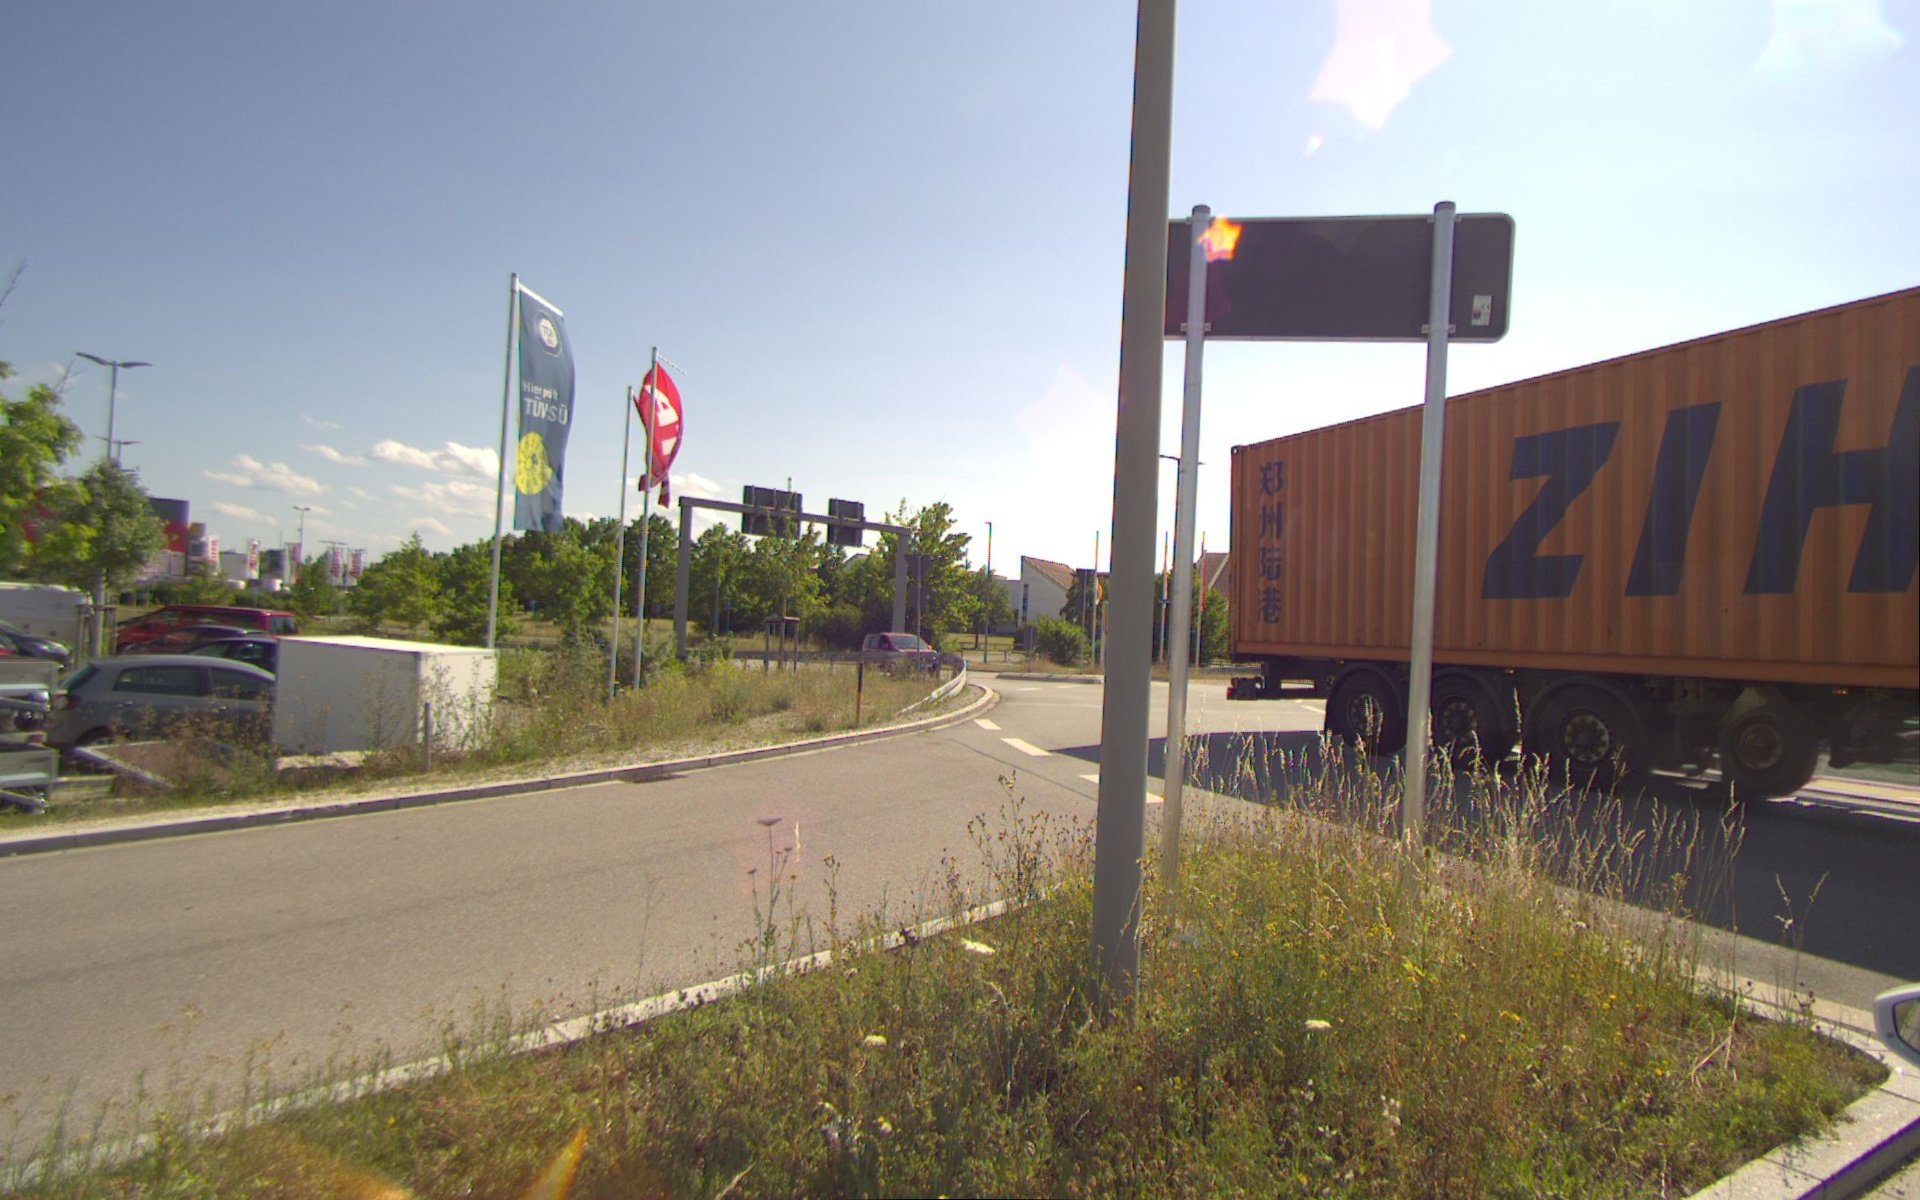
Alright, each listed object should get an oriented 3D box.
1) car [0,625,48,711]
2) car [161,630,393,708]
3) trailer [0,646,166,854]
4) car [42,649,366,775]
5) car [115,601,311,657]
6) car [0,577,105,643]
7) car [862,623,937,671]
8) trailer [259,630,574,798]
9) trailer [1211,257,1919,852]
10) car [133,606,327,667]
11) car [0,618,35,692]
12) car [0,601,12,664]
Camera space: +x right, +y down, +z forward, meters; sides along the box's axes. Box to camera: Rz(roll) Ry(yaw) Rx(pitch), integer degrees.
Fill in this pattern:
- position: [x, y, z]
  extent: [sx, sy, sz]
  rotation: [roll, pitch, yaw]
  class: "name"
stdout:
- position: [-18.132, 1.136, 16.966]
  extent: [3.971, 1.483, 1.803]
  rotation: [3, -3, -42]
  class: "car"
- position: [-15.669, 1.574, 23.233]
  extent: [3.926, 1.483, 1.824]
  rotation: [4, -2, -6]
  class: "car"
- position: [-10.641, 1.454, 10.614]
  extent: [3.623, 1.795, 1.808]
  rotation: [2, 0, 19]
  class: "trailer"
- position: [-11.315, 1.599, 15.248]
  extent: [3.713, 1.572, 1.724]
  rotation: [3, 0, -40]
  class: "car"
- position: [-22.510, 0.859, 30.403]
  extent: [4.372, 1.483, 1.823]
  rotation: [3, 0, -6]
  class: "car"
- position: [-30.624, 0.310, 32.597]
  extent: [4.316, 2.040, 1.881]
  rotation: [3, 0, -41]
  class: "car"
- position: [-2.149, 1.591, 34.827]
  extent: [1.455, 1.414, 3.688]
  rotation: [2, 0, -23]
  class: "car"
- position: [-7.532, 1.467, 14.007]
  extent: [3.624, 1.795, 1.808]
  rotation: [4, 1, 19]
  class: "trailer"
- position: [7.219, -0.284, 9.271]
  extent: [2.525, 4.208, 12.291]
  rotation: [2, -1, -23]
  class: "trailer"
- position: [-20.239, 0.992, 28.005]
  extent: [3.925, 1.483, 1.823]
  rotation: [3, 0, -6]
  class: "car"
- position: [-21.986, 1.099, 20.787]
  extent: [3.964, 1.483, 1.806]
  rotation: [3, 0, -37]
  class: "car"
- position: [-25.334, 0.730, 23.782]
  extent: [3.964, 1.483, 1.806]
  rotation: [3, 0, -37]
  class: "car"
